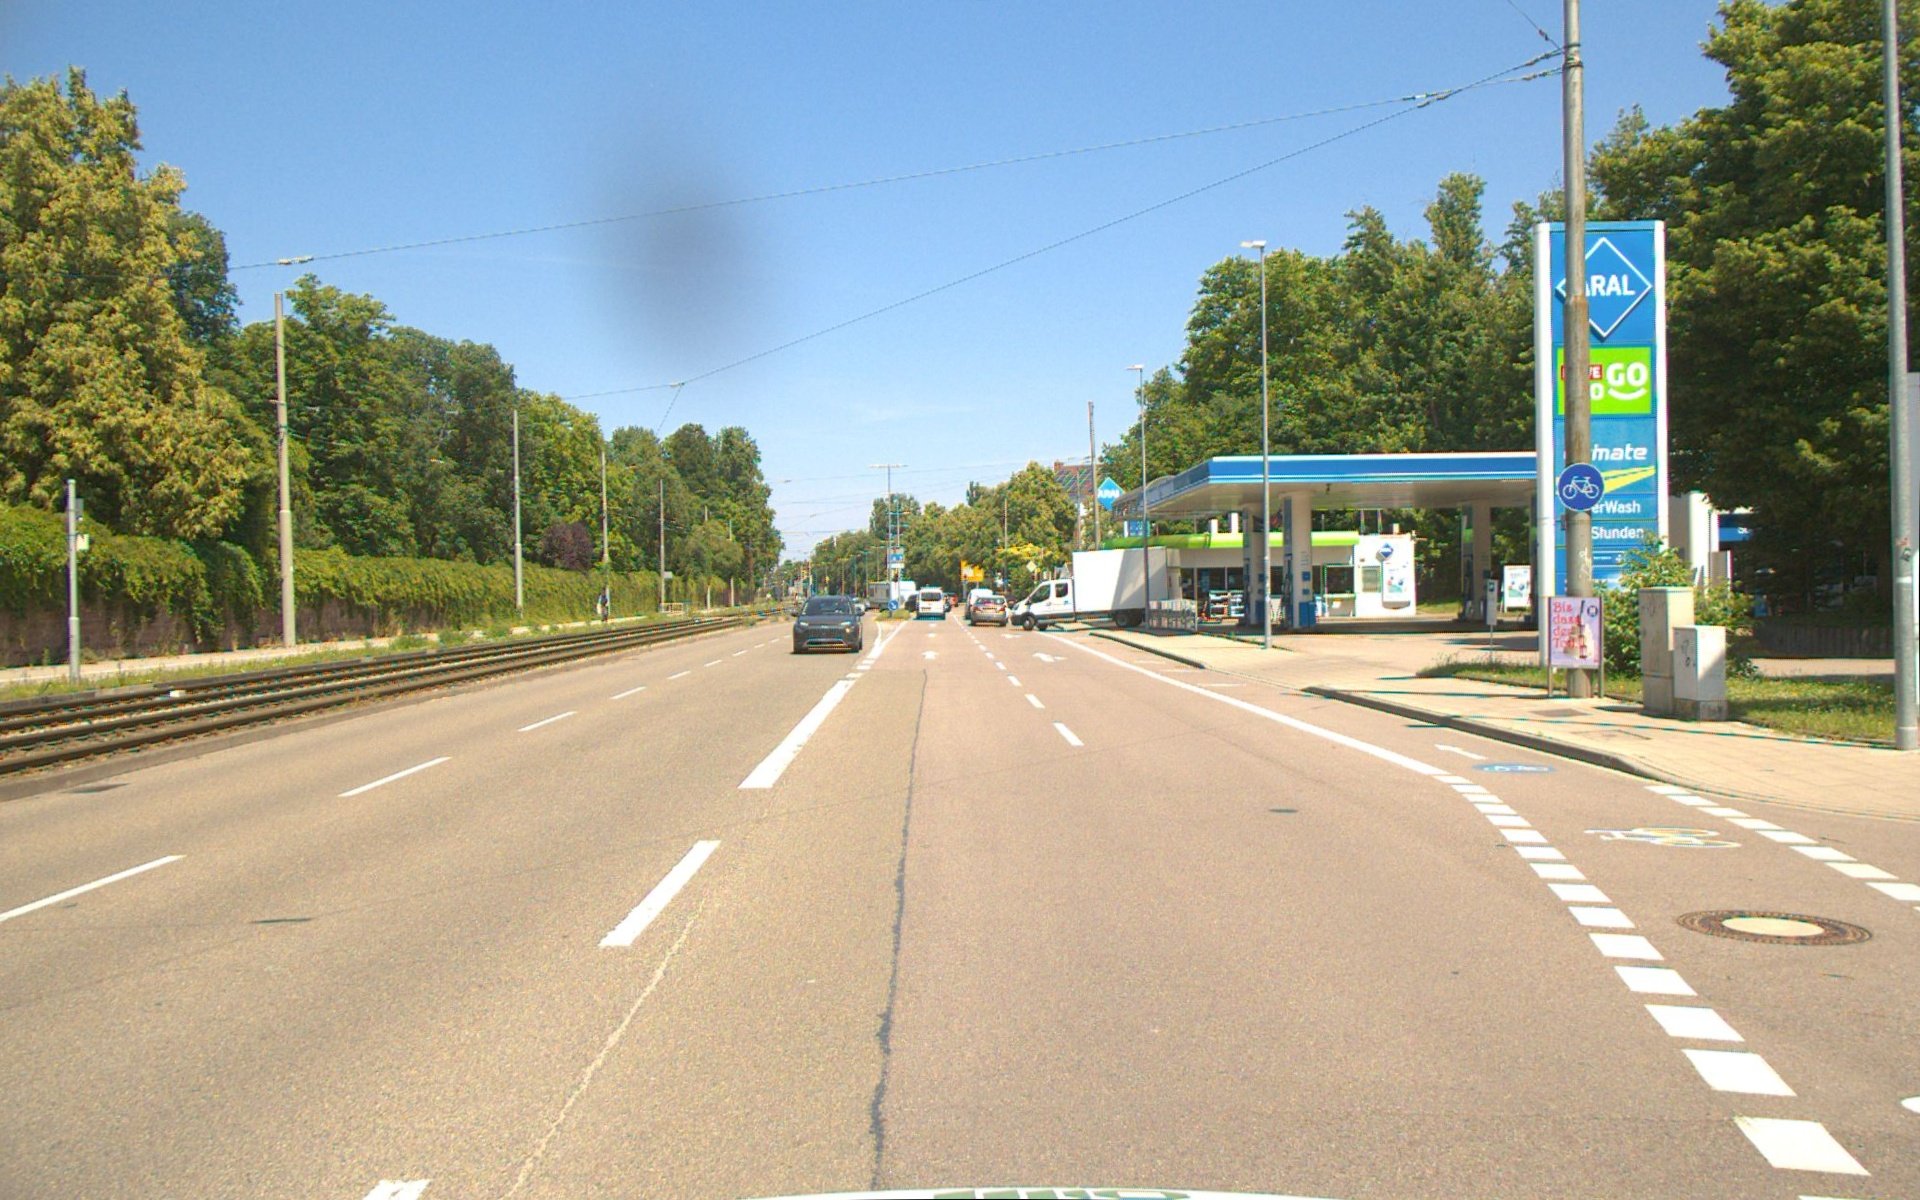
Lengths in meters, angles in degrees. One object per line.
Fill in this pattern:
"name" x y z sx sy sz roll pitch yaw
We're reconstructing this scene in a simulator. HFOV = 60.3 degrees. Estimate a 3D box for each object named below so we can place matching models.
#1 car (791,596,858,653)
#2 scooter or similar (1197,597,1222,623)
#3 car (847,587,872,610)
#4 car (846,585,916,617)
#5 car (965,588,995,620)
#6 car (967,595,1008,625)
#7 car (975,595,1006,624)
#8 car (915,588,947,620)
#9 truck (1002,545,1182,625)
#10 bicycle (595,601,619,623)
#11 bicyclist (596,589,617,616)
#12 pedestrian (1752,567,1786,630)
"car" -3.627 0.629 44.754 1.679 1.447 4.139 -1 0 -3
"scooter or similar" 11.550 0.446 76.584 1.112 1.197 0.384 -1 0 -1
"car" -9.083 -0.118 149.222 1.956 2.049 3.994 -1 0 -7
"car" -6.533 0.082 135.791 2.678 2.560 6.134 -1 0 -39
"car" 1.215 0.238 99.739 1.675 1.862 4.013 -1 0 -1
"car" 1.364 0.483 83.003 1.735 1.445 3.997 -1 0 -3
"car" 1.640 0.500 90.098 1.574 1.477 3.520 1 0 0
"car" -1.742 0.225 98.338 1.829 1.868 3.847 1 0 -2
"truck" 5.895 -0.638 74.022 7.648 3.451 2.427 -1 0 22
"bicycle" -19.869 0.669 93.114 0.811 1.176 2.685 -1 0 -1
"bicyclist" -19.871 0.146 93.055 0.974 1.512 1.000 -1 0 -2
"pedestrian" 24.995 -0.042 51.130 0.612 1.921 0.837 -1 1 -2
